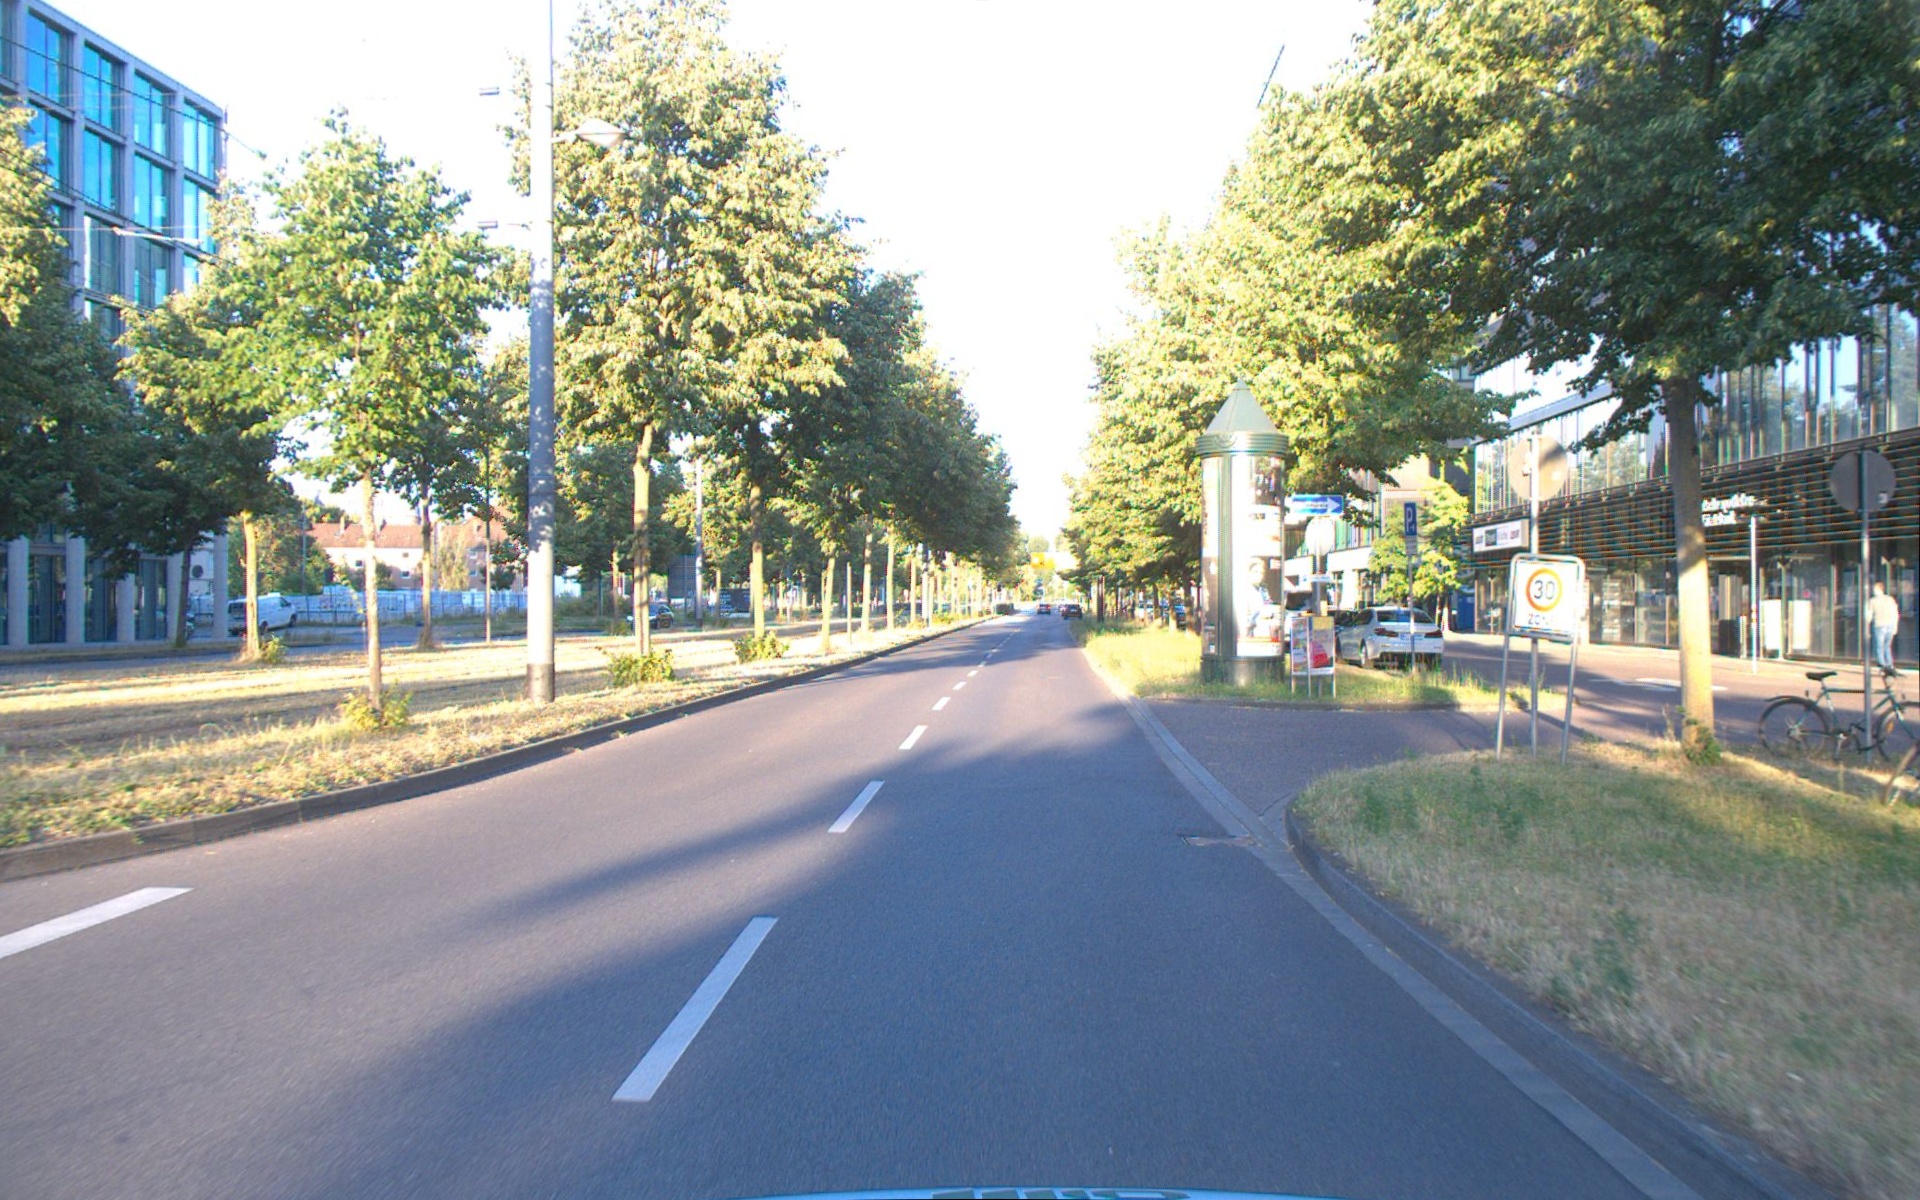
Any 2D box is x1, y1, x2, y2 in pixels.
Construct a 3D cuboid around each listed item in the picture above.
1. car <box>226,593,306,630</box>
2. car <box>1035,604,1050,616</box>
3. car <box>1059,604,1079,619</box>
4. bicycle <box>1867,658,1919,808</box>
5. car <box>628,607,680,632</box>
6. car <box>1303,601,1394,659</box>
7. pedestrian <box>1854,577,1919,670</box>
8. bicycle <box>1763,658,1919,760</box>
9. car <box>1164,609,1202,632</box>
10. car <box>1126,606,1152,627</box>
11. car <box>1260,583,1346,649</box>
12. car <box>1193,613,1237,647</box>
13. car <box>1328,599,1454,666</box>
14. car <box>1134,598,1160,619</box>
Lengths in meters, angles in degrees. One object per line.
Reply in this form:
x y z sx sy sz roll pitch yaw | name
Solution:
-39.350 0.633 93.973 2.160 2.049 5.086 0 0 3 | car
10.416 1.287 209.097 1.872 1.512 4.001 0 -1 2 | car
10.670 1.121 162.729 1.872 1.512 4.001 0 -1 2 | car
6.948 0.929 11.199 0.567 1.012 1.685 0 0 -5 | bicycle
-17.713 1.119 95.893 1.890 1.447 4.390 0 0 4 | car
10.928 0.814 46.808 1.820 1.523 4.292 0 0 3 | car
18.545 0.467 33.055 0.878 1.828 0.912 0 0 2 | pedestrian
8.723 1.043 15.984 1.689 0.926 0.361 0 0 37 | bicycle
13.990 1.280 103.863 1.814 1.391 4.834 0 -1 1 | car
16.376 1.531 151.406 1.952 1.884 4.666 0 -1 1 | car
11.136 0.519 53.991 1.945 2.024 4.933 1 0 2 | car
12.817 1.485 83.182 1.743 1.520 4.002 3 0 3 | car
10.512 0.760 40.692 1.877 1.523 5.042 1 0 1 | car
15.660 0.721 138.621 1.951 1.671 4.880 0 -1 4 | car
